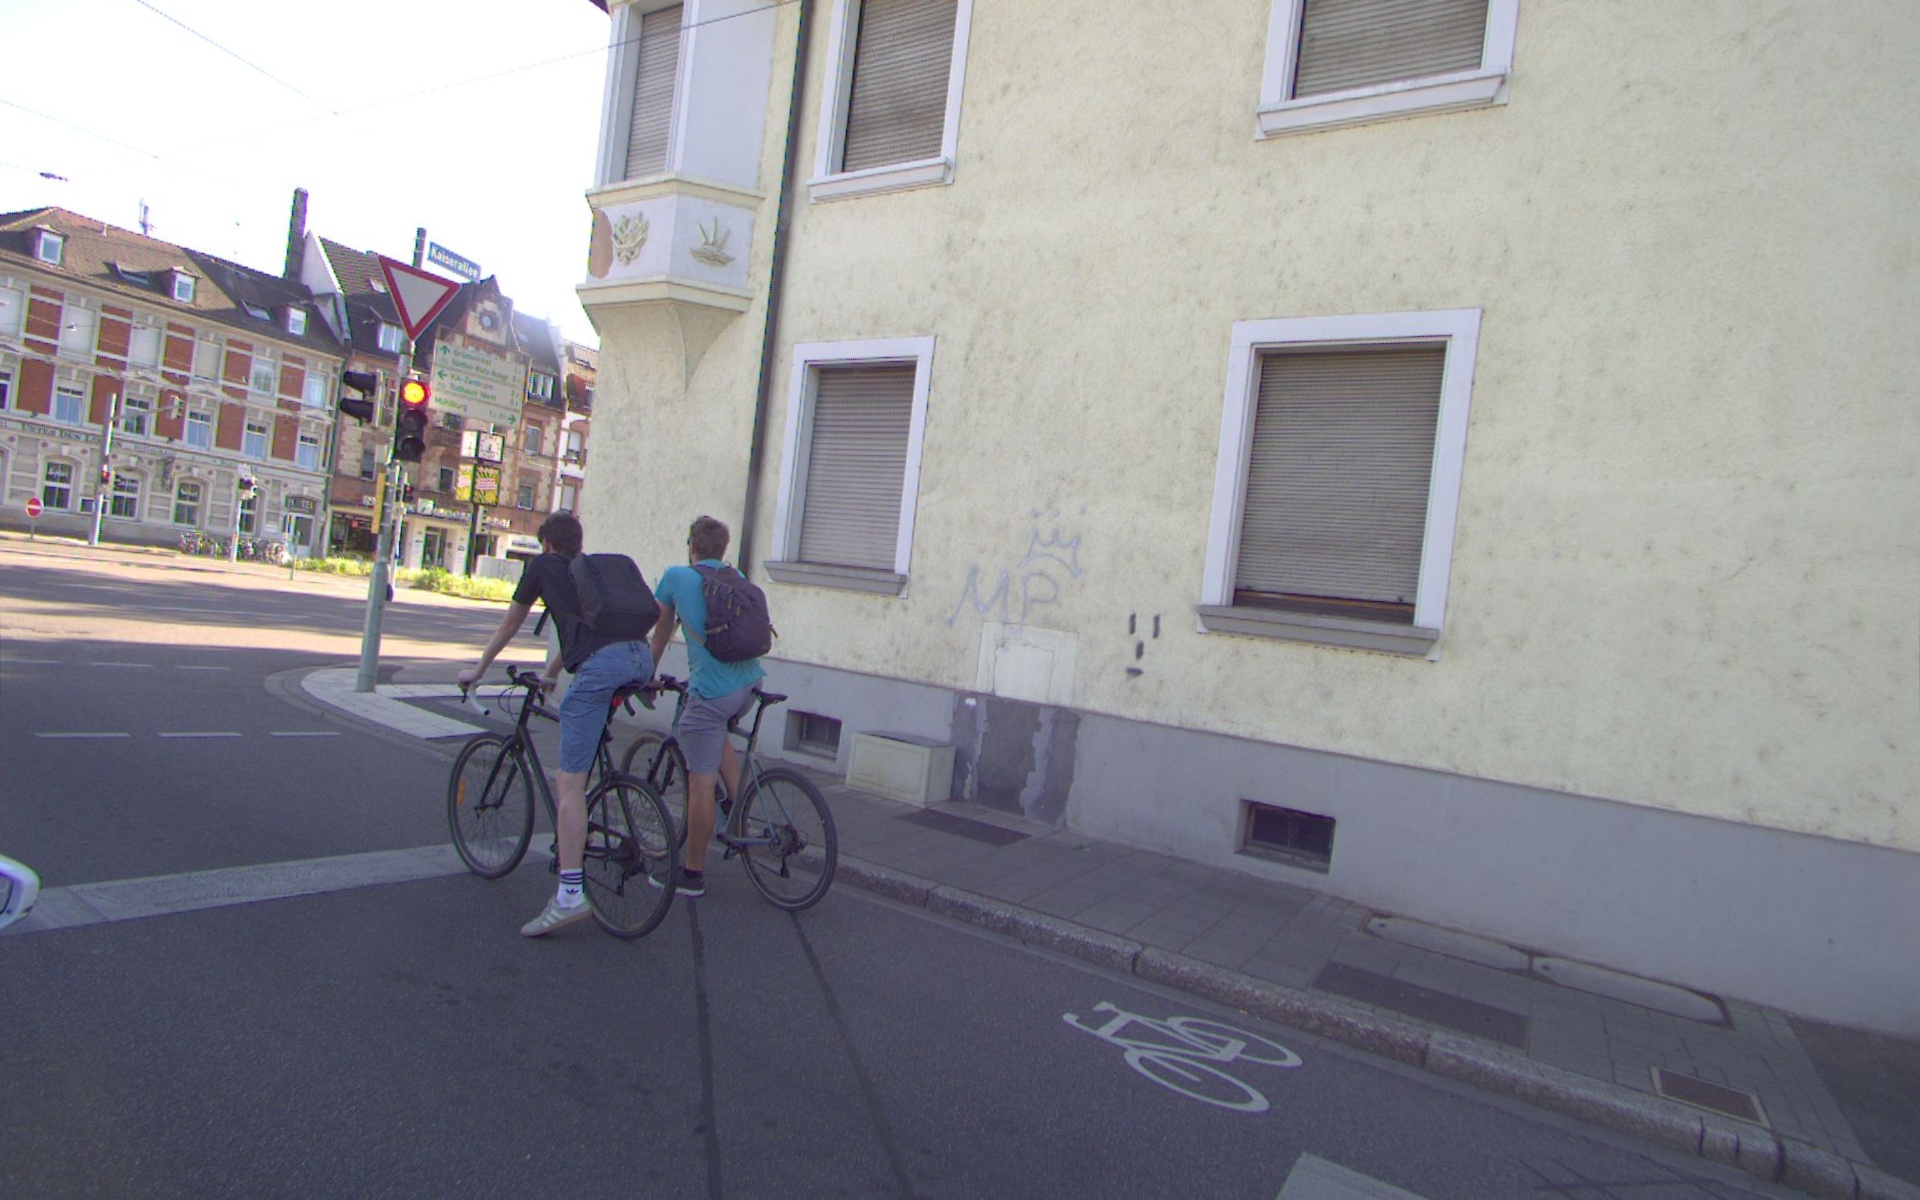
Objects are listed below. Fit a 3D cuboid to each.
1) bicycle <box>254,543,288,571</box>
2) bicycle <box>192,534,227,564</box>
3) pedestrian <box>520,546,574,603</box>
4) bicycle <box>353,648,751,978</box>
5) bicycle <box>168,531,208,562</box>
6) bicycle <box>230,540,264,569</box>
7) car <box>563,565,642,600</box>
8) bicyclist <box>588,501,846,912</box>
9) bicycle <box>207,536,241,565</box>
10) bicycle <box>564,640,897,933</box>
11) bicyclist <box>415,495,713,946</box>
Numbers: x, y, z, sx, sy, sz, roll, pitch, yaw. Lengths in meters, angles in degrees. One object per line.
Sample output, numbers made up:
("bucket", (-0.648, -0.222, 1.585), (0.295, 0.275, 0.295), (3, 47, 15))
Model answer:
("bicycle", (-33.113, -2.054, 48.318), (2.102, 1.150, 0.609), (7, 0, 37))
("bicycle", (-34.546, -2.344, 46.285), (2.140, 1.157, 0.618), (7, 0, 37))
("pedestrian", (-16.566, -1.024, 40.382), (1.285, 2.068, 1.321), (7, 0, 31))
("bicycle", (-1.914, 0.857, 4.597), (1.897, 1.023, 0.645), (7, 0, 34))
("bicycle", (-35.060, -2.434, 45.682), (2.140, 1.157, 0.806), (7, 0, 37))
("bicycle", (-33.678, -2.148, 47.513), (2.140, 1.157, 0.618), (7, 0, 37))
("car", (-23.172, -1.100, 65.324), (2.116, 1.660, 4.340), (7, -1, 31))
("bicyclist", (-1.270, 0.502, 5.252), (0.961, 1.917, 0.602), (6, -1, 34))
("bicycle", (-34.211, -2.295, 46.762), (2.140, 1.157, 0.618), (7, 0, 37))
("bicycle", (-1.254, 0.889, 5.286), (1.784, 1.130, 0.519), (7, 0, 34))
("bicyclist", (-1.803, 0.476, 4.551), (1.083, 1.775, 0.562), (7, 0, 34))
